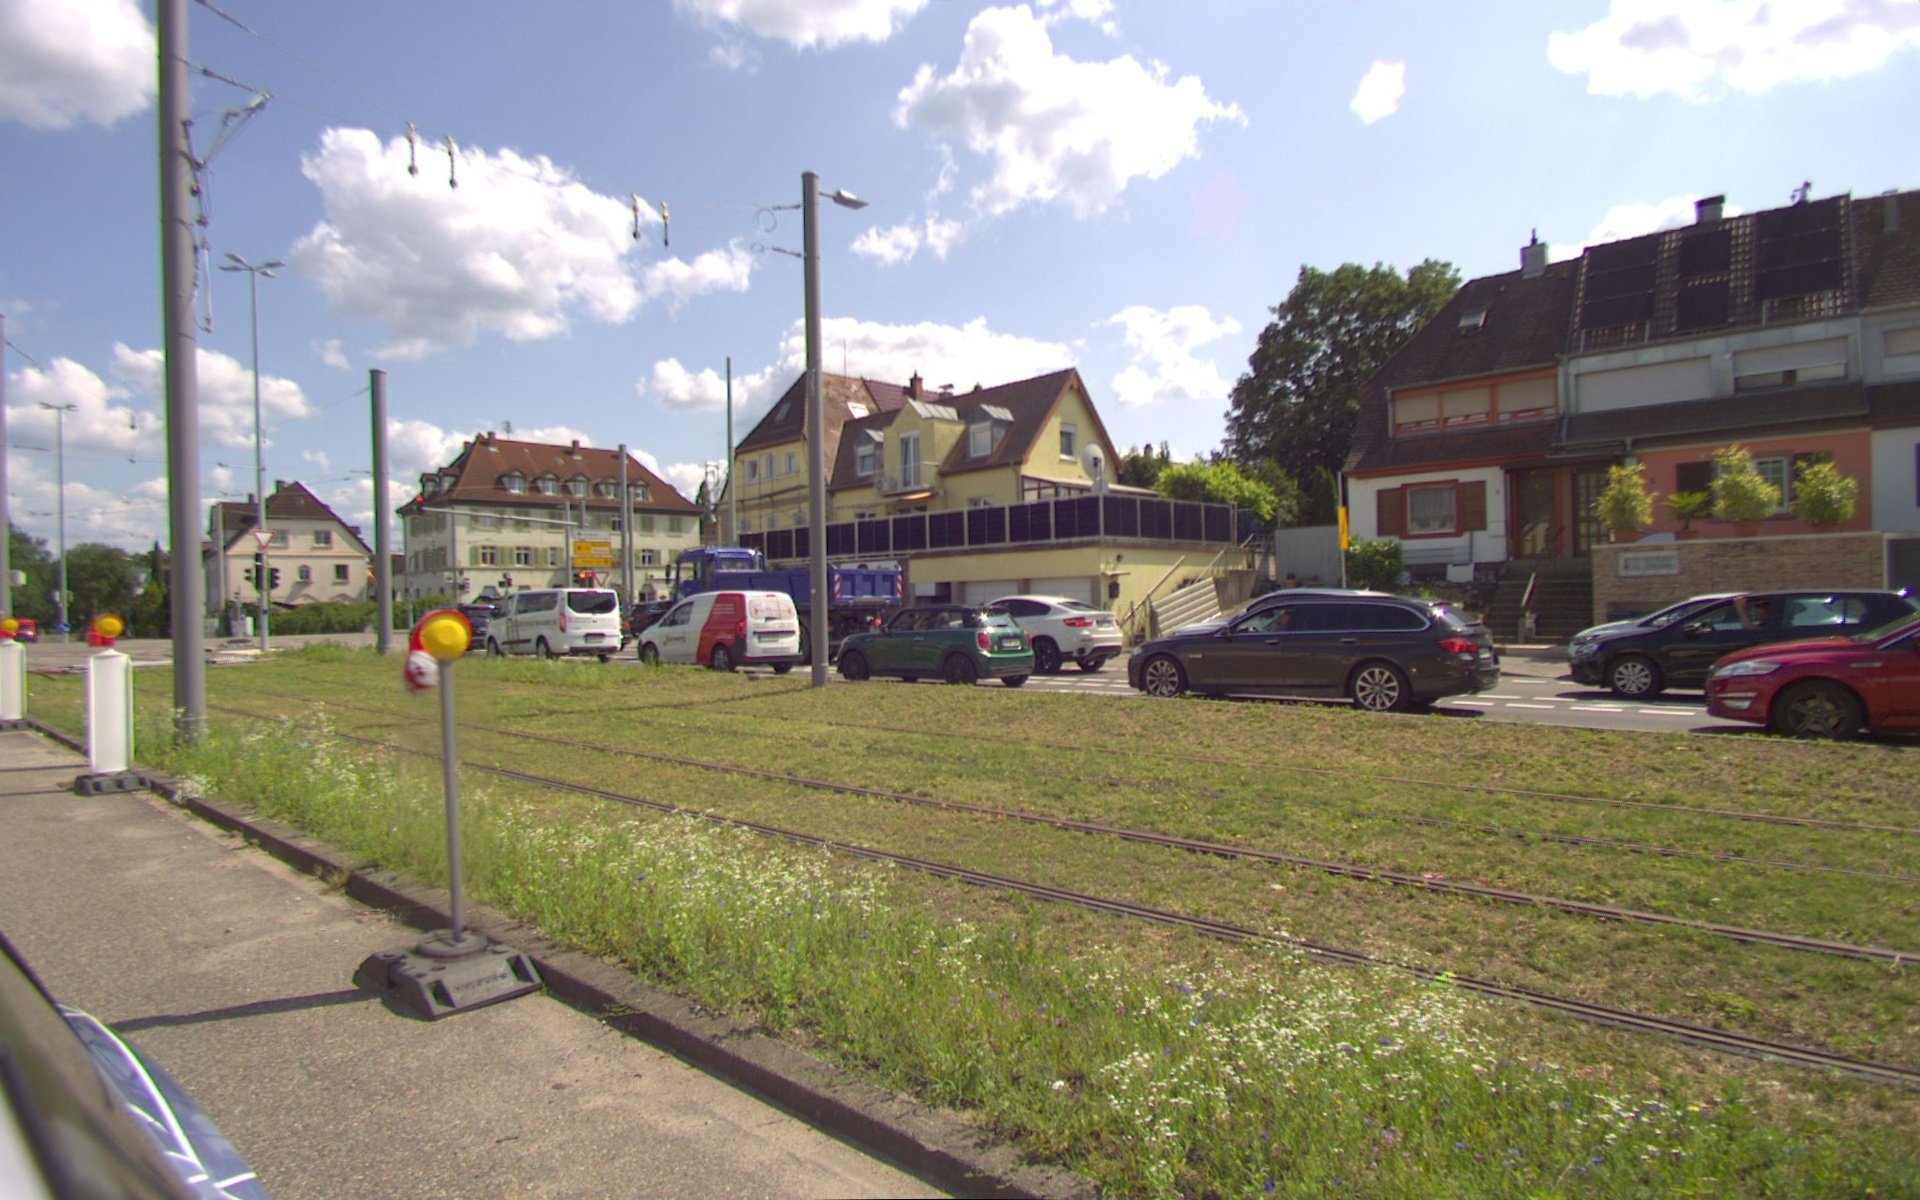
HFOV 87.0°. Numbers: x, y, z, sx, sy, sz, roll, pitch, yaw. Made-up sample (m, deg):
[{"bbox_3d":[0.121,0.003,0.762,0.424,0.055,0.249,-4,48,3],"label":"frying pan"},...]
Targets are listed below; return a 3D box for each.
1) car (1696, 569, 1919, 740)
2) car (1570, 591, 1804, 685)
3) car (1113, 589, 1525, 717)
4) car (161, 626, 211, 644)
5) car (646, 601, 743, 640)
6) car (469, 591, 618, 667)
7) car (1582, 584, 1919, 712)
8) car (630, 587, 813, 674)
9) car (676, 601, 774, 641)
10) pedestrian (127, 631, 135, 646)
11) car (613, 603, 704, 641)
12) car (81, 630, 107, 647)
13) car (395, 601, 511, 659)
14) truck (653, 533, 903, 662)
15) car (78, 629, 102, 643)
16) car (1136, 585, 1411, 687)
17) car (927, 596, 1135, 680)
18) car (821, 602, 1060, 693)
[{"bbox_3d":[9.663,0.458,9.039,4.854,1.505,1.824,-1,0,41],"label":"car"},{"bbox_3d":[12.270,0.606,17.157,3.085,1.430,1.550,-1,0,41],"label":"car"},{"bbox_3d":[4.657,0.631,13.646,4.912,1.424,1.825,-1,0,40],"label":"car"},{"bbox_3d":[-65.652,2.921,85.903,1.733,1.397,4.112,-2,-1,-12],"label":"car"},{"bbox_3d":[-12.044,0.927,46.099,1.506,1.504,4.093,-2,1,40],"label":"car"},{"bbox_3d":[-11.585,0.773,27.998,4.744,1.936,1.796,-2,0,40],"label":"car"},{"bbox_3d":[10.665,0.587,13.626,3.653,1.505,1.824,-1,0,41],"label":"car"},{"bbox_3d":[-5.467,0.658,22.913,4.401,1.795,1.715,-1,-1,40],"label":"car"},{"bbox_3d":[-10.197,0.893,44.109,1.433,1.504,4.094,-2,1,40],"label":"car"},{"bbox_3d":[-85.591,3.989,104.503,0.622,1.547,0.619,-1,-1,-41],"label":"pedestrian"},{"bbox_3d":[-14.170,1.014,47.785,1.178,1.504,4.094,-2,1,40],"label":"car"},{"bbox_3d":[-76.932,3.415,89.911,1.685,1.473,3.158,-1,-1,-42],"label":"car"},{"bbox_3d":[-16.286,0.972,32.402,4.439,1.734,1.768,-3,-1,42],"label":"car"},{"bbox_3d":[-5.328,-0.014,28.706,7.576,3.212,2.740,-1,0,40],"label":"truck"},{"bbox_3d":[-88.620,3.652,103.147,1.683,1.306,3.925,-1,-1,-39],"label":"car"},{"bbox_3d":[5.697,0.620,18.738,4.502,1.681,1.825,-1,0,40],"label":"car"},{"bbox_3d":[1.507,0.803,22.656,4.436,1.672,1.824,-1,0,42],"label":"car"},{"bbox_3d":[-0.415,0.796,18.097,3.997,1.429,1.895,-1,0,40],"label":"car"}]
